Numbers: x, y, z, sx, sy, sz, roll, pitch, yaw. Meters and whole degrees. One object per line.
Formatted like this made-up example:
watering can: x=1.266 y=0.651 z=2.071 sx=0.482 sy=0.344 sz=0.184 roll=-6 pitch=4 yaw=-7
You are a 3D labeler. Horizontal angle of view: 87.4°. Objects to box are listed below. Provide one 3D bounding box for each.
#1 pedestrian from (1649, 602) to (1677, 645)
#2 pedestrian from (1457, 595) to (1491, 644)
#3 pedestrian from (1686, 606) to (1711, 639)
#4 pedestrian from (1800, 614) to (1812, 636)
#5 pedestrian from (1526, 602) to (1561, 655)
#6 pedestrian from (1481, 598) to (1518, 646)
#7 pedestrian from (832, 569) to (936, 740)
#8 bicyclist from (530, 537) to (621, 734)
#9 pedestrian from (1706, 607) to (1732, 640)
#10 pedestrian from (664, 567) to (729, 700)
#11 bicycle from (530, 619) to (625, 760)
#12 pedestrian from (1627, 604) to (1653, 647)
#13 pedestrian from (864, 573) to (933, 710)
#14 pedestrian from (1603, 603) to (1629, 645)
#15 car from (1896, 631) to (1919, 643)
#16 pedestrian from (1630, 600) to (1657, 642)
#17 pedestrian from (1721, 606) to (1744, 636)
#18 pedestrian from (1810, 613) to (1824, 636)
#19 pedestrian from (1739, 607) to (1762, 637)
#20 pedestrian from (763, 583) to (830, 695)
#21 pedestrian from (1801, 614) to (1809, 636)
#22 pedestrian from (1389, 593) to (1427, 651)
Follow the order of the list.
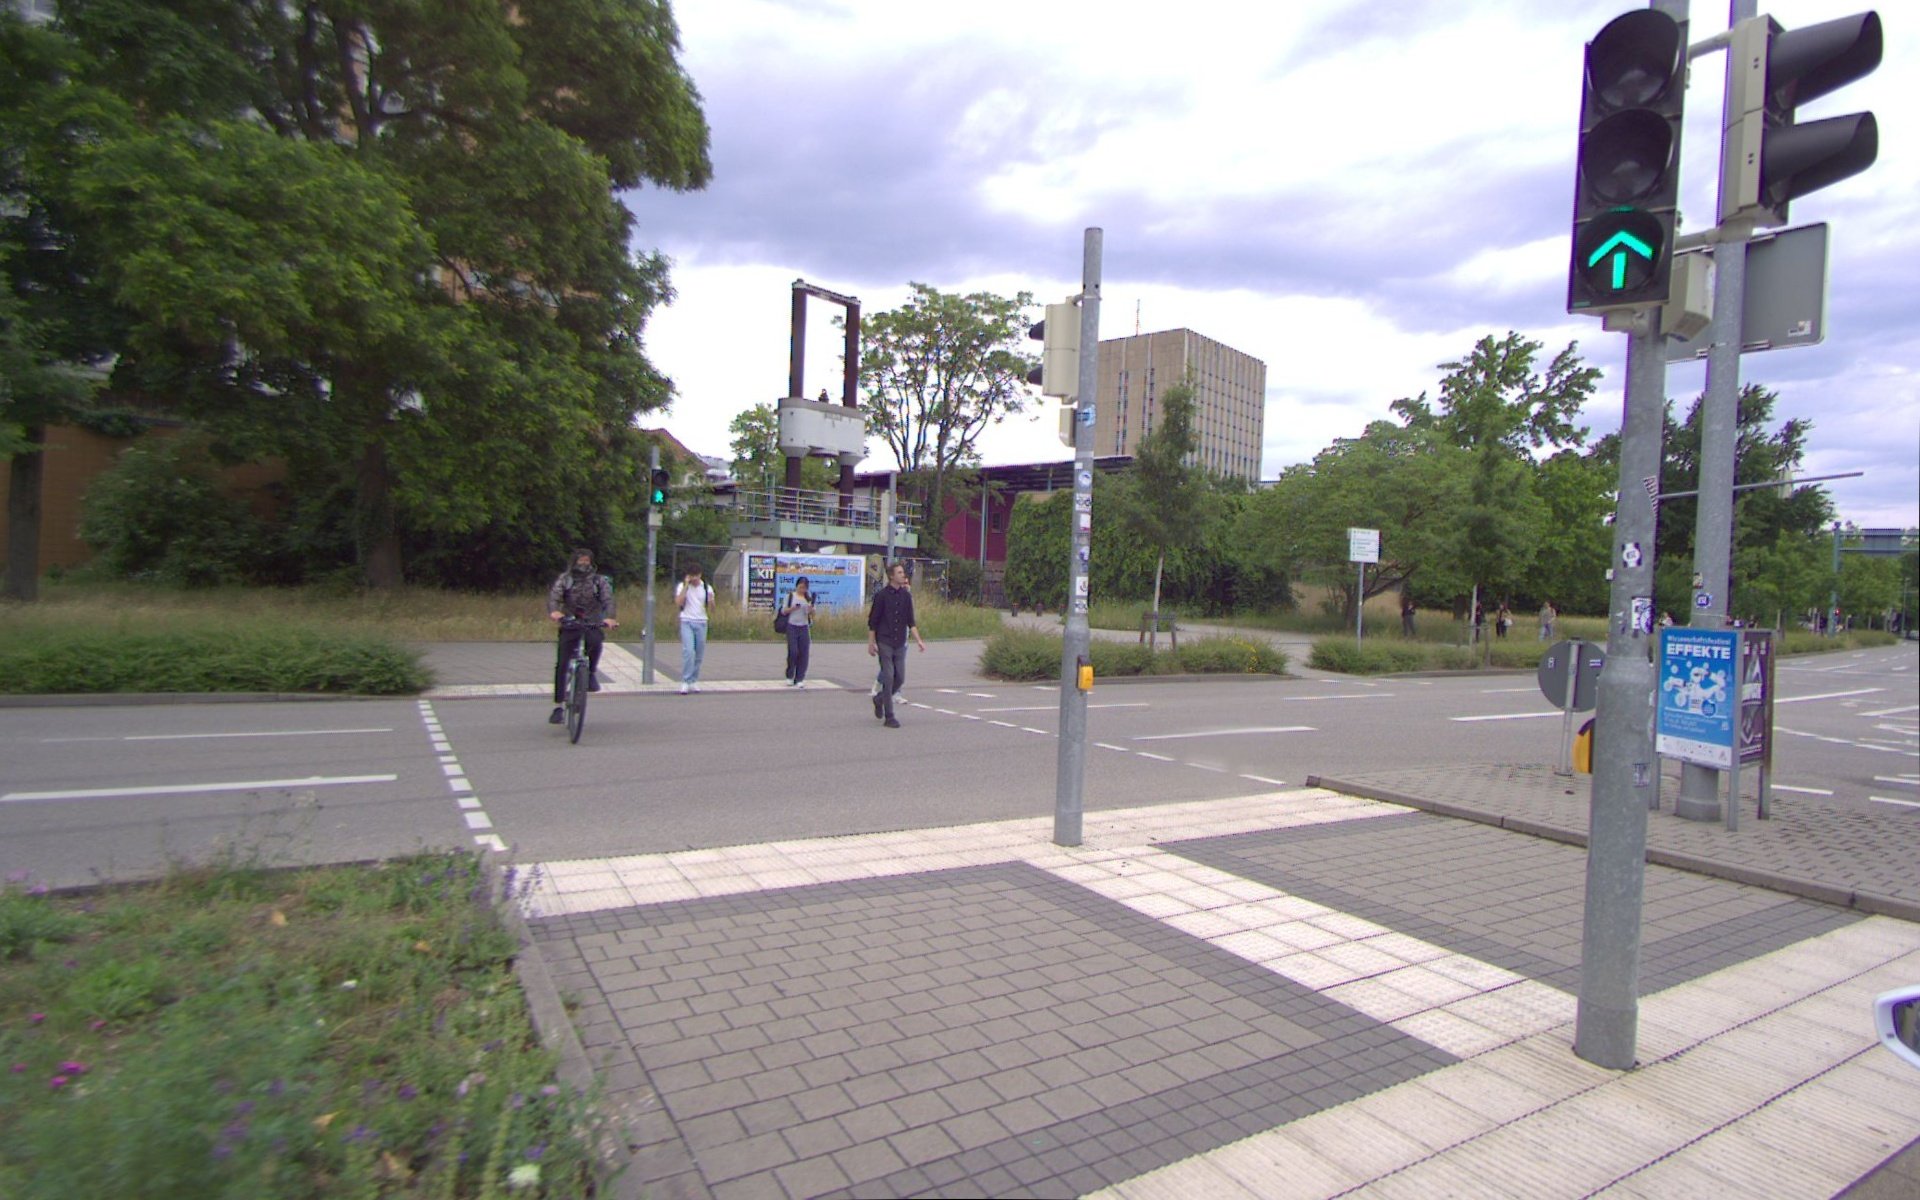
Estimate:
pedestrian: x=34.475 y=1.138 z=49.252 sx=1.037 sy=2.041 sz=0.749 roll=1 pitch=1 yaw=-37
pedestrian: x=19.446 y=0.743 z=37.986 sx=0.896 sy=1.789 sz=0.750 roll=1 pitch=1 yaw=-34
pedestrian: x=41.287 y=1.237 z=56.152 sx=1.056 sy=1.803 sz=0.910 roll=1 pitch=2 yaw=-42
pedestrian: x=80.361 y=2.339 z=95.387 sx=0.590 sy=2.040 sz=0.662 roll=1 pitch=1 yaw=-36
pedestrian: x=23.042 y=1.117 z=39.647 sx=1.036 sy=2.041 sz=0.750 roll=1 pitch=1 yaw=-34
pedestrian: x=20.095 y=0.819 z=37.420 sx=1.036 sy=1.735 sz=0.750 roll=1 pitch=1 yaw=-34
pedestrian: x=-0.897 y=0.596 z=11.641 sx=0.854 sy=1.867 sz=1.045 roll=1 pitch=1 yaw=-24
bicyclist: x=-3.855 y=0.338 z=10.050 sx=0.781 sy=1.869 sz=0.829 roll=1 pitch=1 yaw=-23
pedestrian: x=41.900 y=1.286 z=55.444 sx=1.056 sy=1.803 sz=0.910 roll=1 pitch=2 yaw=-42
pedestrian: x=-3.819 y=0.468 z=14.551 sx=0.756 sy=1.867 sz=0.755 roll=1 pitch=1 yaw=-24
bicycle: x=-3.837 y=0.825 z=9.996 sx=0.780 sy=1.174 sz=1.895 roll=1 pitch=1 yaw=-23
pedestrian: x=31.004 y=1.157 z=45.772 sx=0.750 sy=1.895 sz=0.709 roll=1 pitch=1 yaw=-36
pedestrian: x=-0.882 y=0.559 z=14.246 sx=0.658 sy=1.867 sz=0.890 roll=1 pitch=1 yaw=-24
pedestrian: x=30.413 y=1.104 z=46.561 sx=0.750 sy=1.895 sz=0.708 roll=1 pitch=1 yaw=-37
car: x=132.714 y=5.155 z=140.516 sx=1.853 sy=1.435 sz=3.844 roll=3 pitch=1 yaw=34
pedestrian: x=33.867 y=1.049 z=49.802 sx=1.037 sy=2.041 sz=0.749 roll=1 pitch=1 yaw=-37
pedestrian: x=48.925 y=1.324 z=63.610 sx=1.056 sy=1.803 sz=0.910 roll=1 pitch=1 yaw=-42
pedestrian: x=78.141 y=2.251 z=91.571 sx=0.775 sy=2.040 sz=0.717 roll=1 pitch=1 yaw=-36
pedestrian: x=49.544 y=1.353 z=62.922 sx=1.056 sy=1.803 sz=0.910 roll=1 pitch=2 yaw=-42
pedestrian: x=-2.550 y=0.587 z=15.640 sx=0.795 sy=1.671 sz=0.839 roll=1 pitch=1 yaw=-24
pedestrian: x=84.544 y=2.479 z=100.503 sx=0.471 sy=2.185 sz=0.467 roll=1 pitch=1 yaw=-37
pedestrian: x=16.247 y=0.790 z=36.452 sx=1.036 sy=2.041 sz=0.750 roll=1 pitch=1 yaw=-34
